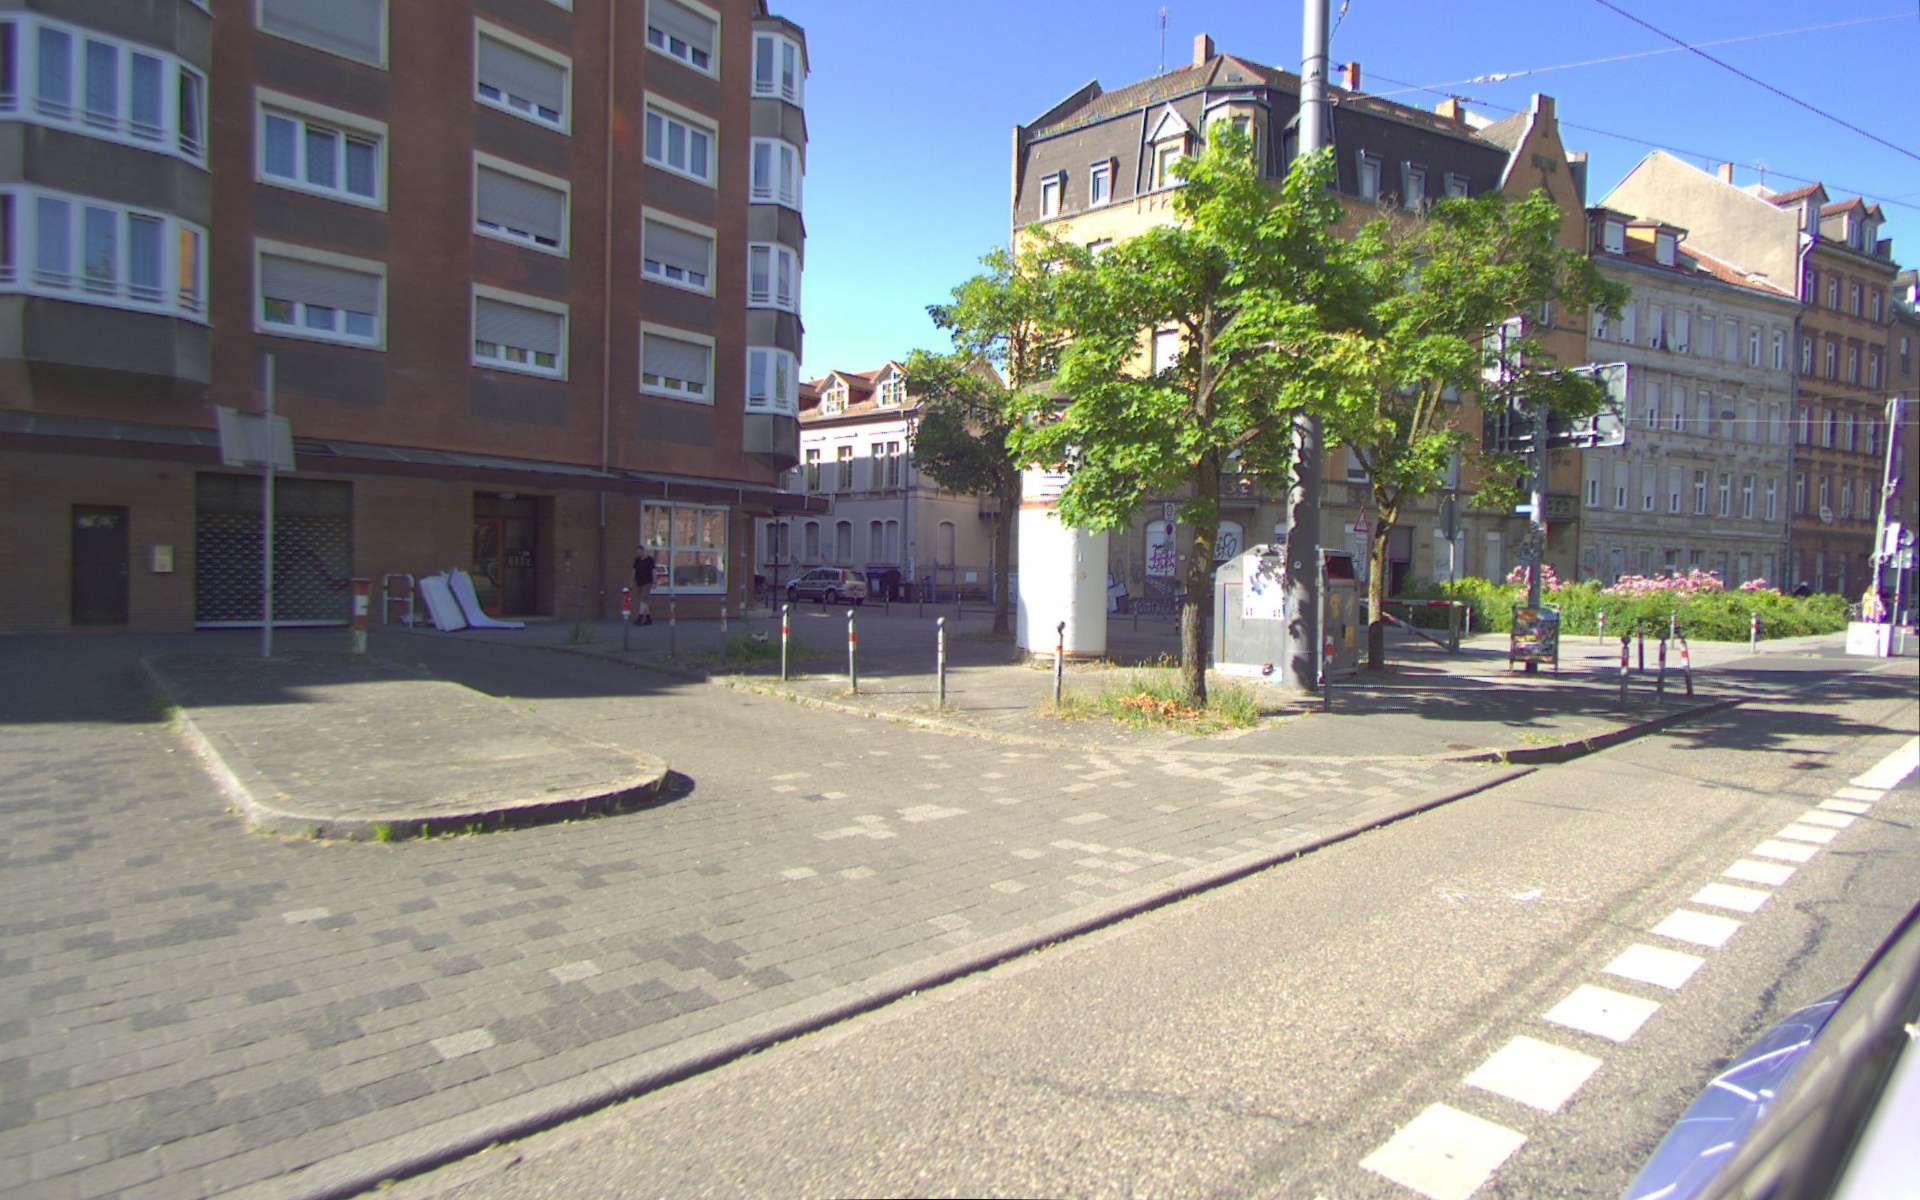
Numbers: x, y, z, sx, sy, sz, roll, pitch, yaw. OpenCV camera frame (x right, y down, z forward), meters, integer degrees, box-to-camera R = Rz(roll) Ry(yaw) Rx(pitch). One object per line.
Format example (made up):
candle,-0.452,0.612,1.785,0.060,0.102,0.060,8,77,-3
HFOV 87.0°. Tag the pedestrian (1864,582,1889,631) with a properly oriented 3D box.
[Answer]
pedestrian,32.693,0.212,36.112,0.548,1.697,0.679,2,2,37

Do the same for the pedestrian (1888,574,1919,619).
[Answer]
pedestrian,43.727,-0.165,46.873,1.344,2.038,0.844,0,2,-40

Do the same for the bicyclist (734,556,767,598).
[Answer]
bicyclist,-8.915,-0.987,43.087,1.046,1.746,0.907,3,2,40

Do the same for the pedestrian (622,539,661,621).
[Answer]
pedestrian,-7.118,-0.449,22.621,0.631,1.782,0.592,0,2,-42

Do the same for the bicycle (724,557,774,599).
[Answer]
bicycle,-9.009,-0.960,43.177,2.132,1.701,0.995,3,2,40

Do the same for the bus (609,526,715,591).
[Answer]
bus,-15.253,-2.152,51.577,6.246,3.105,2.385,3,3,43

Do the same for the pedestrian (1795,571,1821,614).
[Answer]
pedestrian,38.689,-0.349,46.169,0.817,1.884,0.694,2,2,37

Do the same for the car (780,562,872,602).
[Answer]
car,-5.751,-0.797,43.106,3.982,1.563,1.612,3,2,40

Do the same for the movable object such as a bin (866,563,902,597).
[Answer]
movable object such as a bin,-3.334,-0.874,44.539,1.214,1.462,1.019,3,2,43

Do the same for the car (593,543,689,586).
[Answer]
car,-12.747,-1.433,40.325,3.984,1.593,1.823,3,3,41

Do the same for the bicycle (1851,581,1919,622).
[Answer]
bicycle,39.691,0.027,42.724,6.704,1.432,1.970,0,6,-39

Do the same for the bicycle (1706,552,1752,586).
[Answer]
bicycle,31.225,-1.248,41.078,2.197,1.302,0.956,0,2,-40

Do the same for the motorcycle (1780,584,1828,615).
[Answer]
motorcycle,38.565,-0.043,46.267,1.623,1.332,0.707,3,2,38
